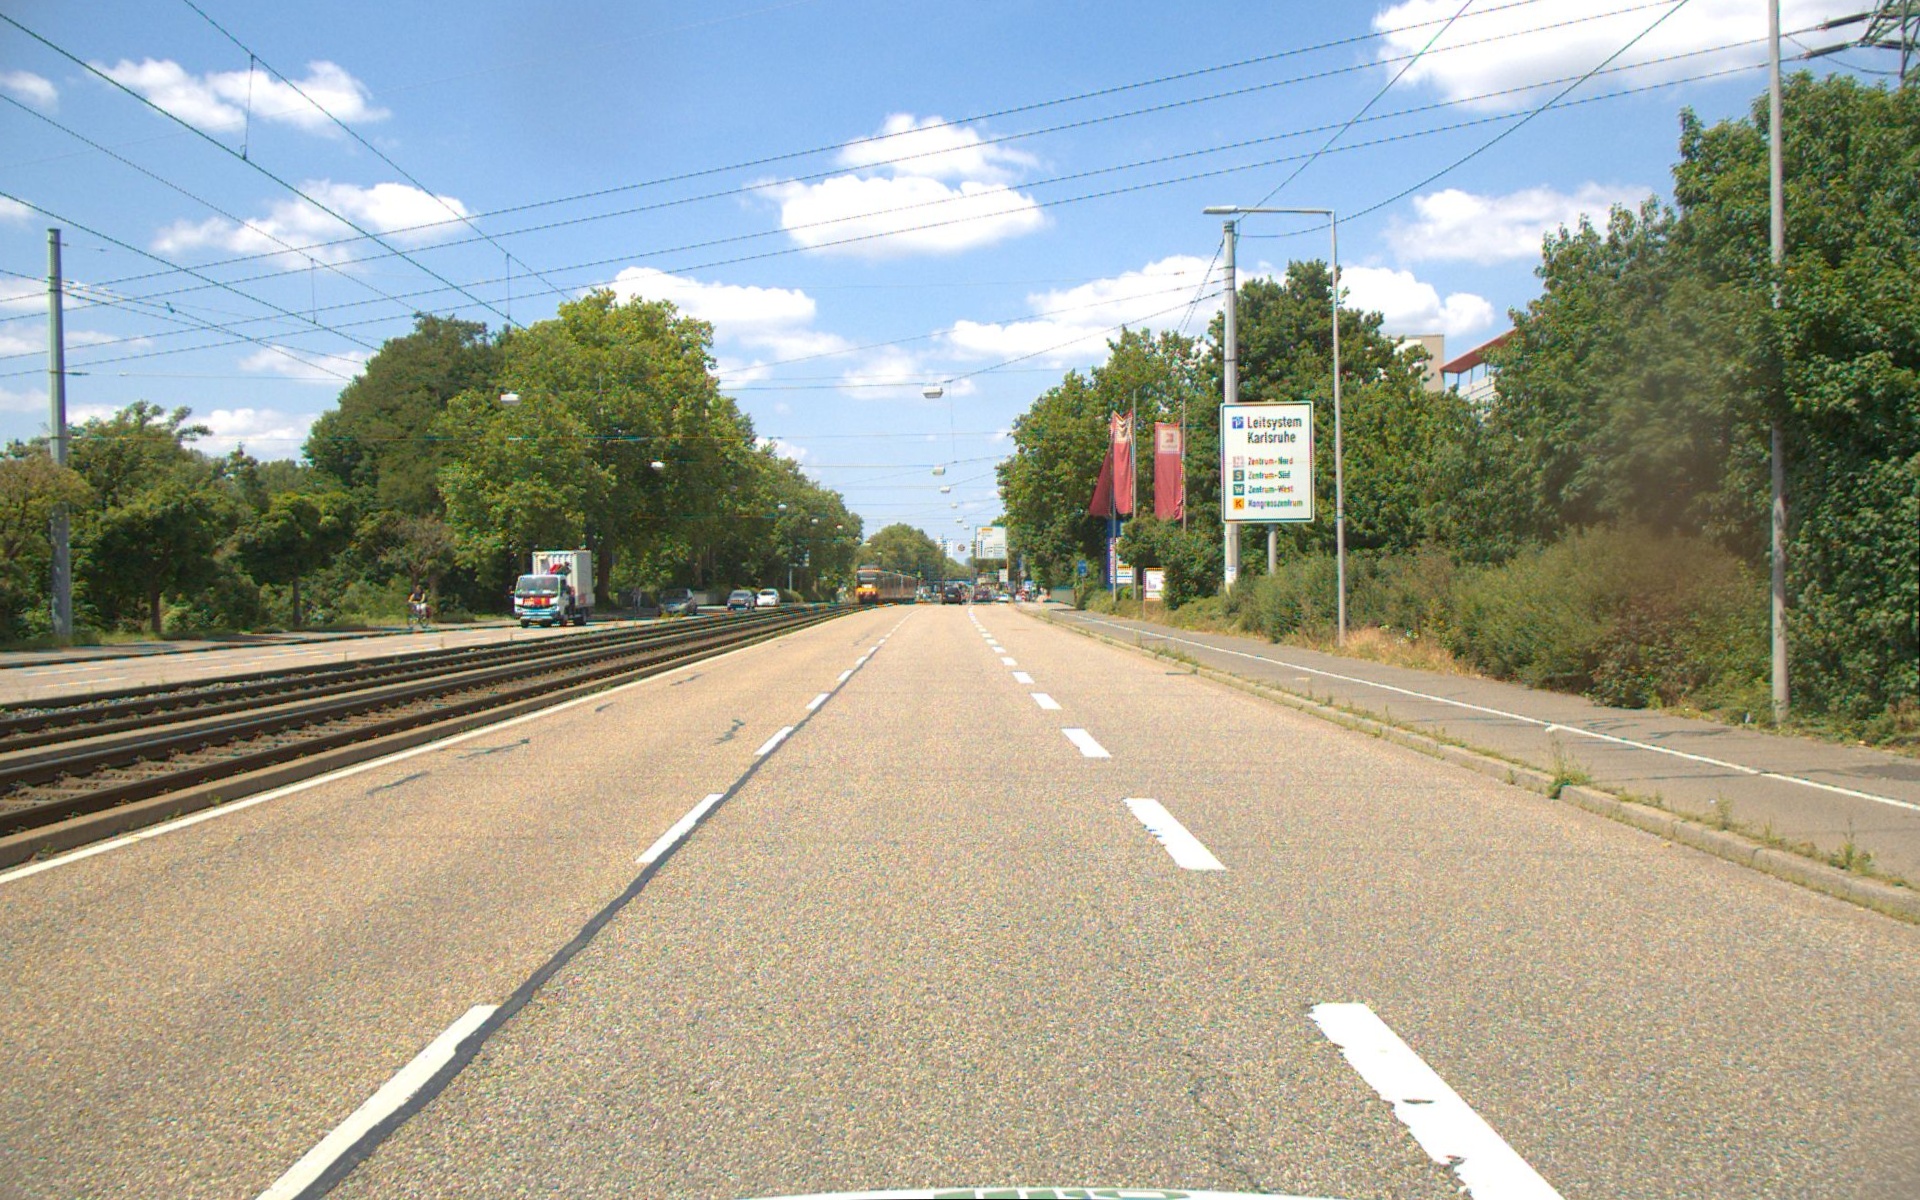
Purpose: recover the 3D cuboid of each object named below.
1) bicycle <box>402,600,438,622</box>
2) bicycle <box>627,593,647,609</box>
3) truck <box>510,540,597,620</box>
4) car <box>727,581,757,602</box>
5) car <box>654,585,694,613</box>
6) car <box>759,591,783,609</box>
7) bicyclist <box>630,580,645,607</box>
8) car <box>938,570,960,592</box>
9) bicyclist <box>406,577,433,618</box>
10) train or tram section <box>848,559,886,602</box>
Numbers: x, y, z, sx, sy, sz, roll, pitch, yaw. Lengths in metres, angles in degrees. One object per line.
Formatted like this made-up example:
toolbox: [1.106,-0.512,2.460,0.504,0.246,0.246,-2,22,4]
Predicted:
bicycle: [-21.817,0.438,66.877,0.637,0.874,2.121,1,1,3]
bicycle: [-19.751,0.060,101.278,0.609,0.996,2.056,2,0,5]
truck: [-17.613,-0.868,72.023,2.203,3.293,6.042,-1,0,1]
car: [-15.981,-0.646,121.266,1.603,1.446,4.127,-1,0,0]
car: [-16.500,-0.069,95.588,1.717,1.562,3.956,-1,0,-2]
car: [-15.968,0.017,139.655,1.603,1.461,3.720,-2,0,-1]
bicyclist: [-19.725,-0.380,101.157,0.609,1.645,1.063,2,0,5]
car: [-0.987,-1.673,146.627,1.861,1.837,3.975,1,0,-1]
bicyclist: [-21.812,-0.097,66.782,0.637,1.648,1.156,1,0,3]
train or tram section: [-9.848,-2.027,176.184,2.985,4.341,15.424,-1,0,1]
